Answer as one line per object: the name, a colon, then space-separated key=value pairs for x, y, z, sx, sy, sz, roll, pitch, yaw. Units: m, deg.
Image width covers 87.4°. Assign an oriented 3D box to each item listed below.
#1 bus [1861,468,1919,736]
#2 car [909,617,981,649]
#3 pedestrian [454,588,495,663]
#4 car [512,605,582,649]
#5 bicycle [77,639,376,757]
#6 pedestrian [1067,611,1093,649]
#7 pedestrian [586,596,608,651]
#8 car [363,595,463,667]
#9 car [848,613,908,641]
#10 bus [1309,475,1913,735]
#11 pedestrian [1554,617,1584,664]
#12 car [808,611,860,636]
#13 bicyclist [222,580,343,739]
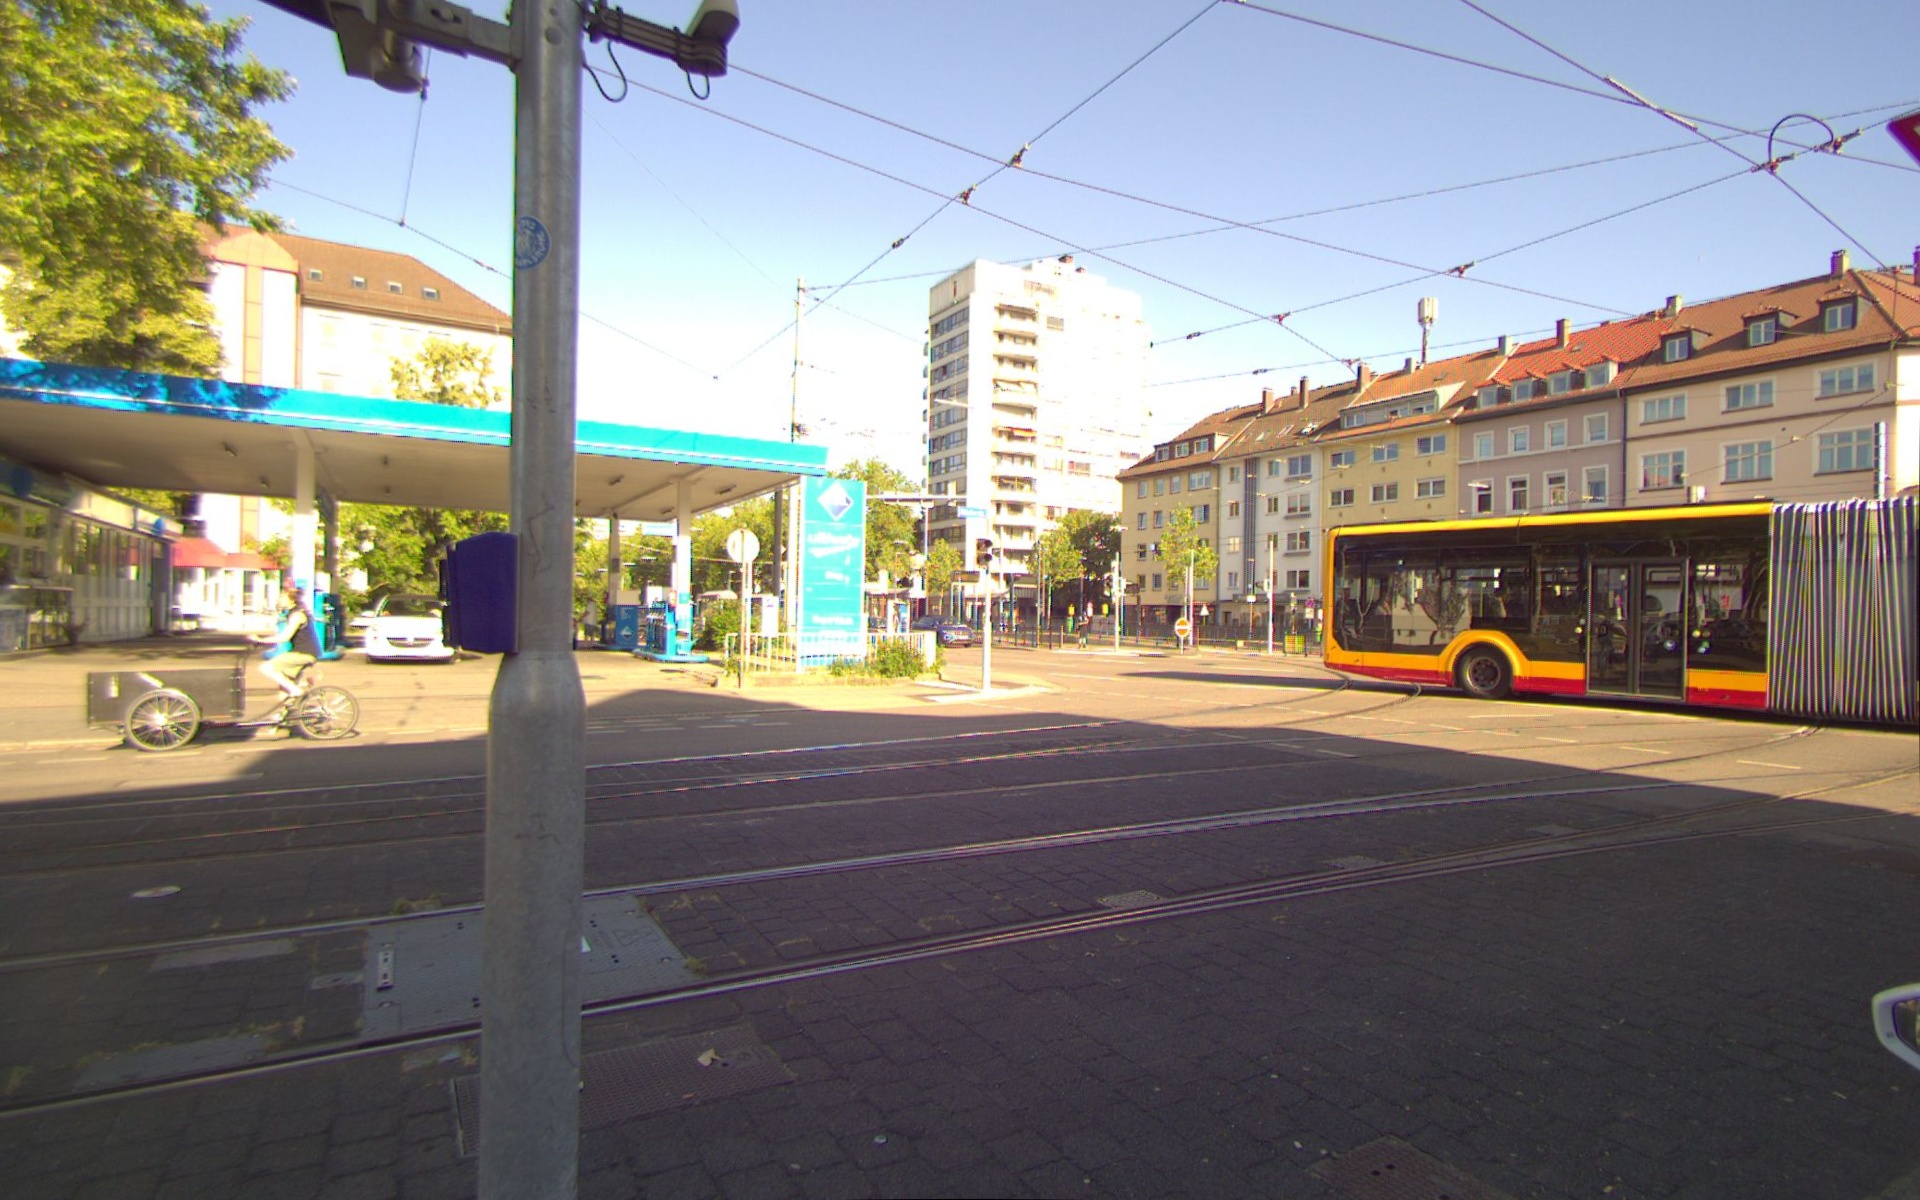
bus: x=16.092 y=0.095 z=10.670 sx=2.754 sy=3.504 sz=9.342 roll=0 pitch=1 yaw=-37
car: x=-0.767 y=1.532 z=47.876 sx=1.697 sy=1.439 sz=4.149 roll=1 pitch=-1 yaw=-28
pedestrian: x=-11.308 y=0.602 z=23.400 sx=0.753 sy=1.715 sz=0.581 roll=1 pitch=-1 yaw=-34
car: x=-13.570 y=0.856 z=32.884 sx=1.697 sy=1.360 sz=3.970 roll=1 pitch=-1 yaw=-28
bicycle: x=-7.776 y=0.995 z=10.875 sx=2.490 sy=1.116 sz=1.051 roll=1 pitch=-1 yaw=-30
pedestrian: x=5.264 y=1.303 z=43.973 sx=0.788 sy=1.632 sz=0.766 roll=1 pitch=-1 yaw=-36
pedestrian: x=-11.641 y=0.754 z=32.207 sx=0.579 sy=1.715 sz=0.756 roll=1 pitch=-1 yaw=-25
car: x=-12.349 y=0.670 z=22.563 sx=1.793 sy=1.461 sz=3.966 roll=1 pitch=-1 yaw=-31
car: x=-4.480 y=1.446 z=54.312 sx=1.697 sy=1.439 sz=4.149 roll=1 pitch=-1 yaw=-28
bus: x=10.759 y=0.015 z=17.798 sx=2.761 sy=3.504 sz=8.550 roll=0 pitch=1 yaw=-37
pedestrian: x=24.624 y=1.628 z=40.625 sx=0.714 sy=1.853 sz=0.763 roll=1 pitch=-1 yaw=-30
car: x=-7.607 y=1.399 z=60.321 sx=1.697 sy=1.439 sz=4.149 roll=1 pitch=-1 yaw=-28
bicyclist: x=-7.457 y=0.632 z=11.112 sx=1.016 sy=1.659 sz=0.927 roll=1 pitch=-1 yaw=-30
